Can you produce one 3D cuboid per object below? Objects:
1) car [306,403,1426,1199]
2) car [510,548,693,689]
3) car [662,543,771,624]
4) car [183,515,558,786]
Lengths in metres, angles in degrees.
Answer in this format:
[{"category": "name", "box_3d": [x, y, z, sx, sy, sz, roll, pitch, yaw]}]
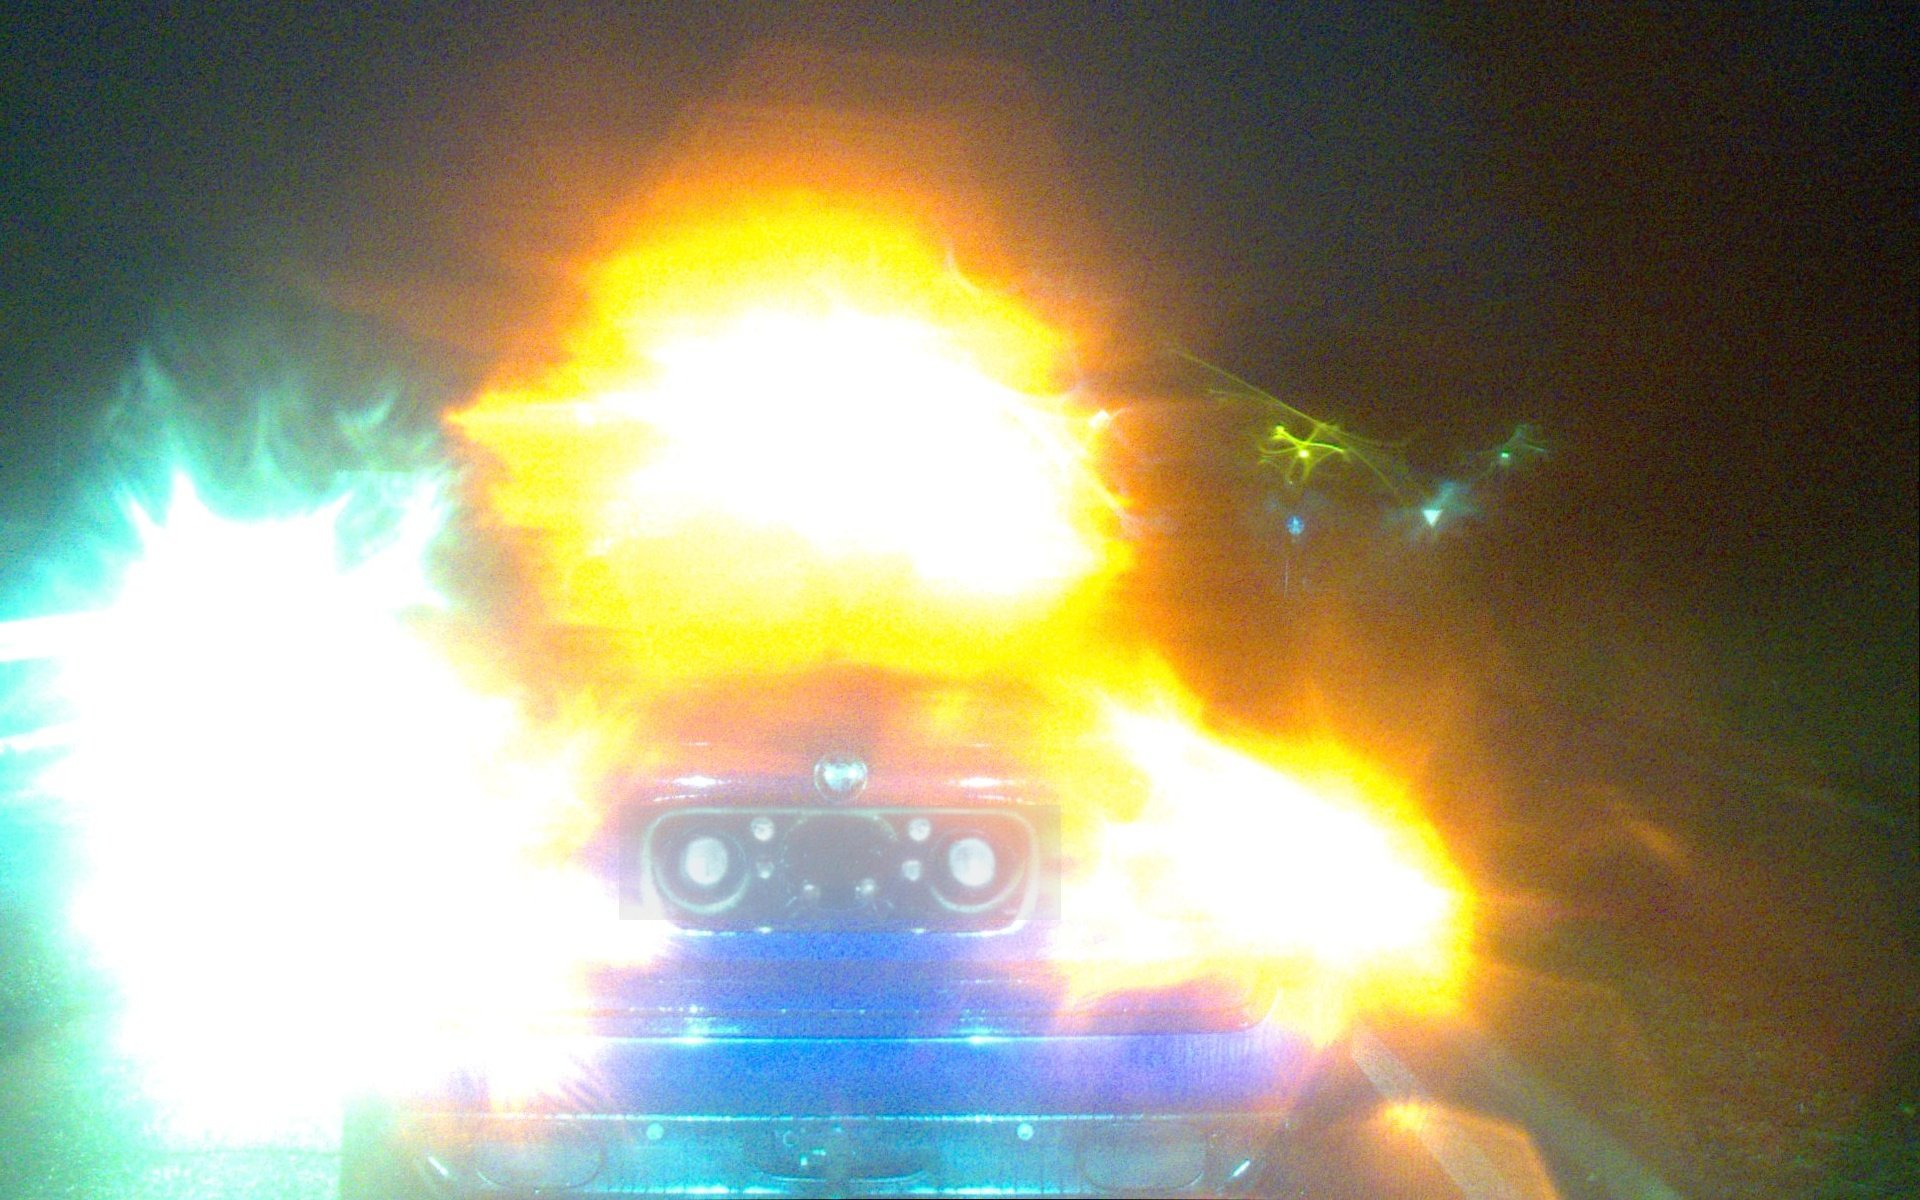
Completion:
[{"category": "car", "box_3d": [-0.158, 0.521, 7.490, 1.775, 1.706, 4.000, 1, 1, 0]}, {"category": "car", "box_3d": [-4.272, 0.179, 41.520, 1.837, 1.540, 4.257, 1, 1, -1]}, {"category": "car", "box_3d": [-4.782, -0.354, 68.069, 1.903, 1.465, 4.275, 2, 1, -1]}, {"category": "car", "box_3d": [-3.882, 0.271, 23.310, 1.951, 1.650, 4.125, -1, 1, -2]}]
